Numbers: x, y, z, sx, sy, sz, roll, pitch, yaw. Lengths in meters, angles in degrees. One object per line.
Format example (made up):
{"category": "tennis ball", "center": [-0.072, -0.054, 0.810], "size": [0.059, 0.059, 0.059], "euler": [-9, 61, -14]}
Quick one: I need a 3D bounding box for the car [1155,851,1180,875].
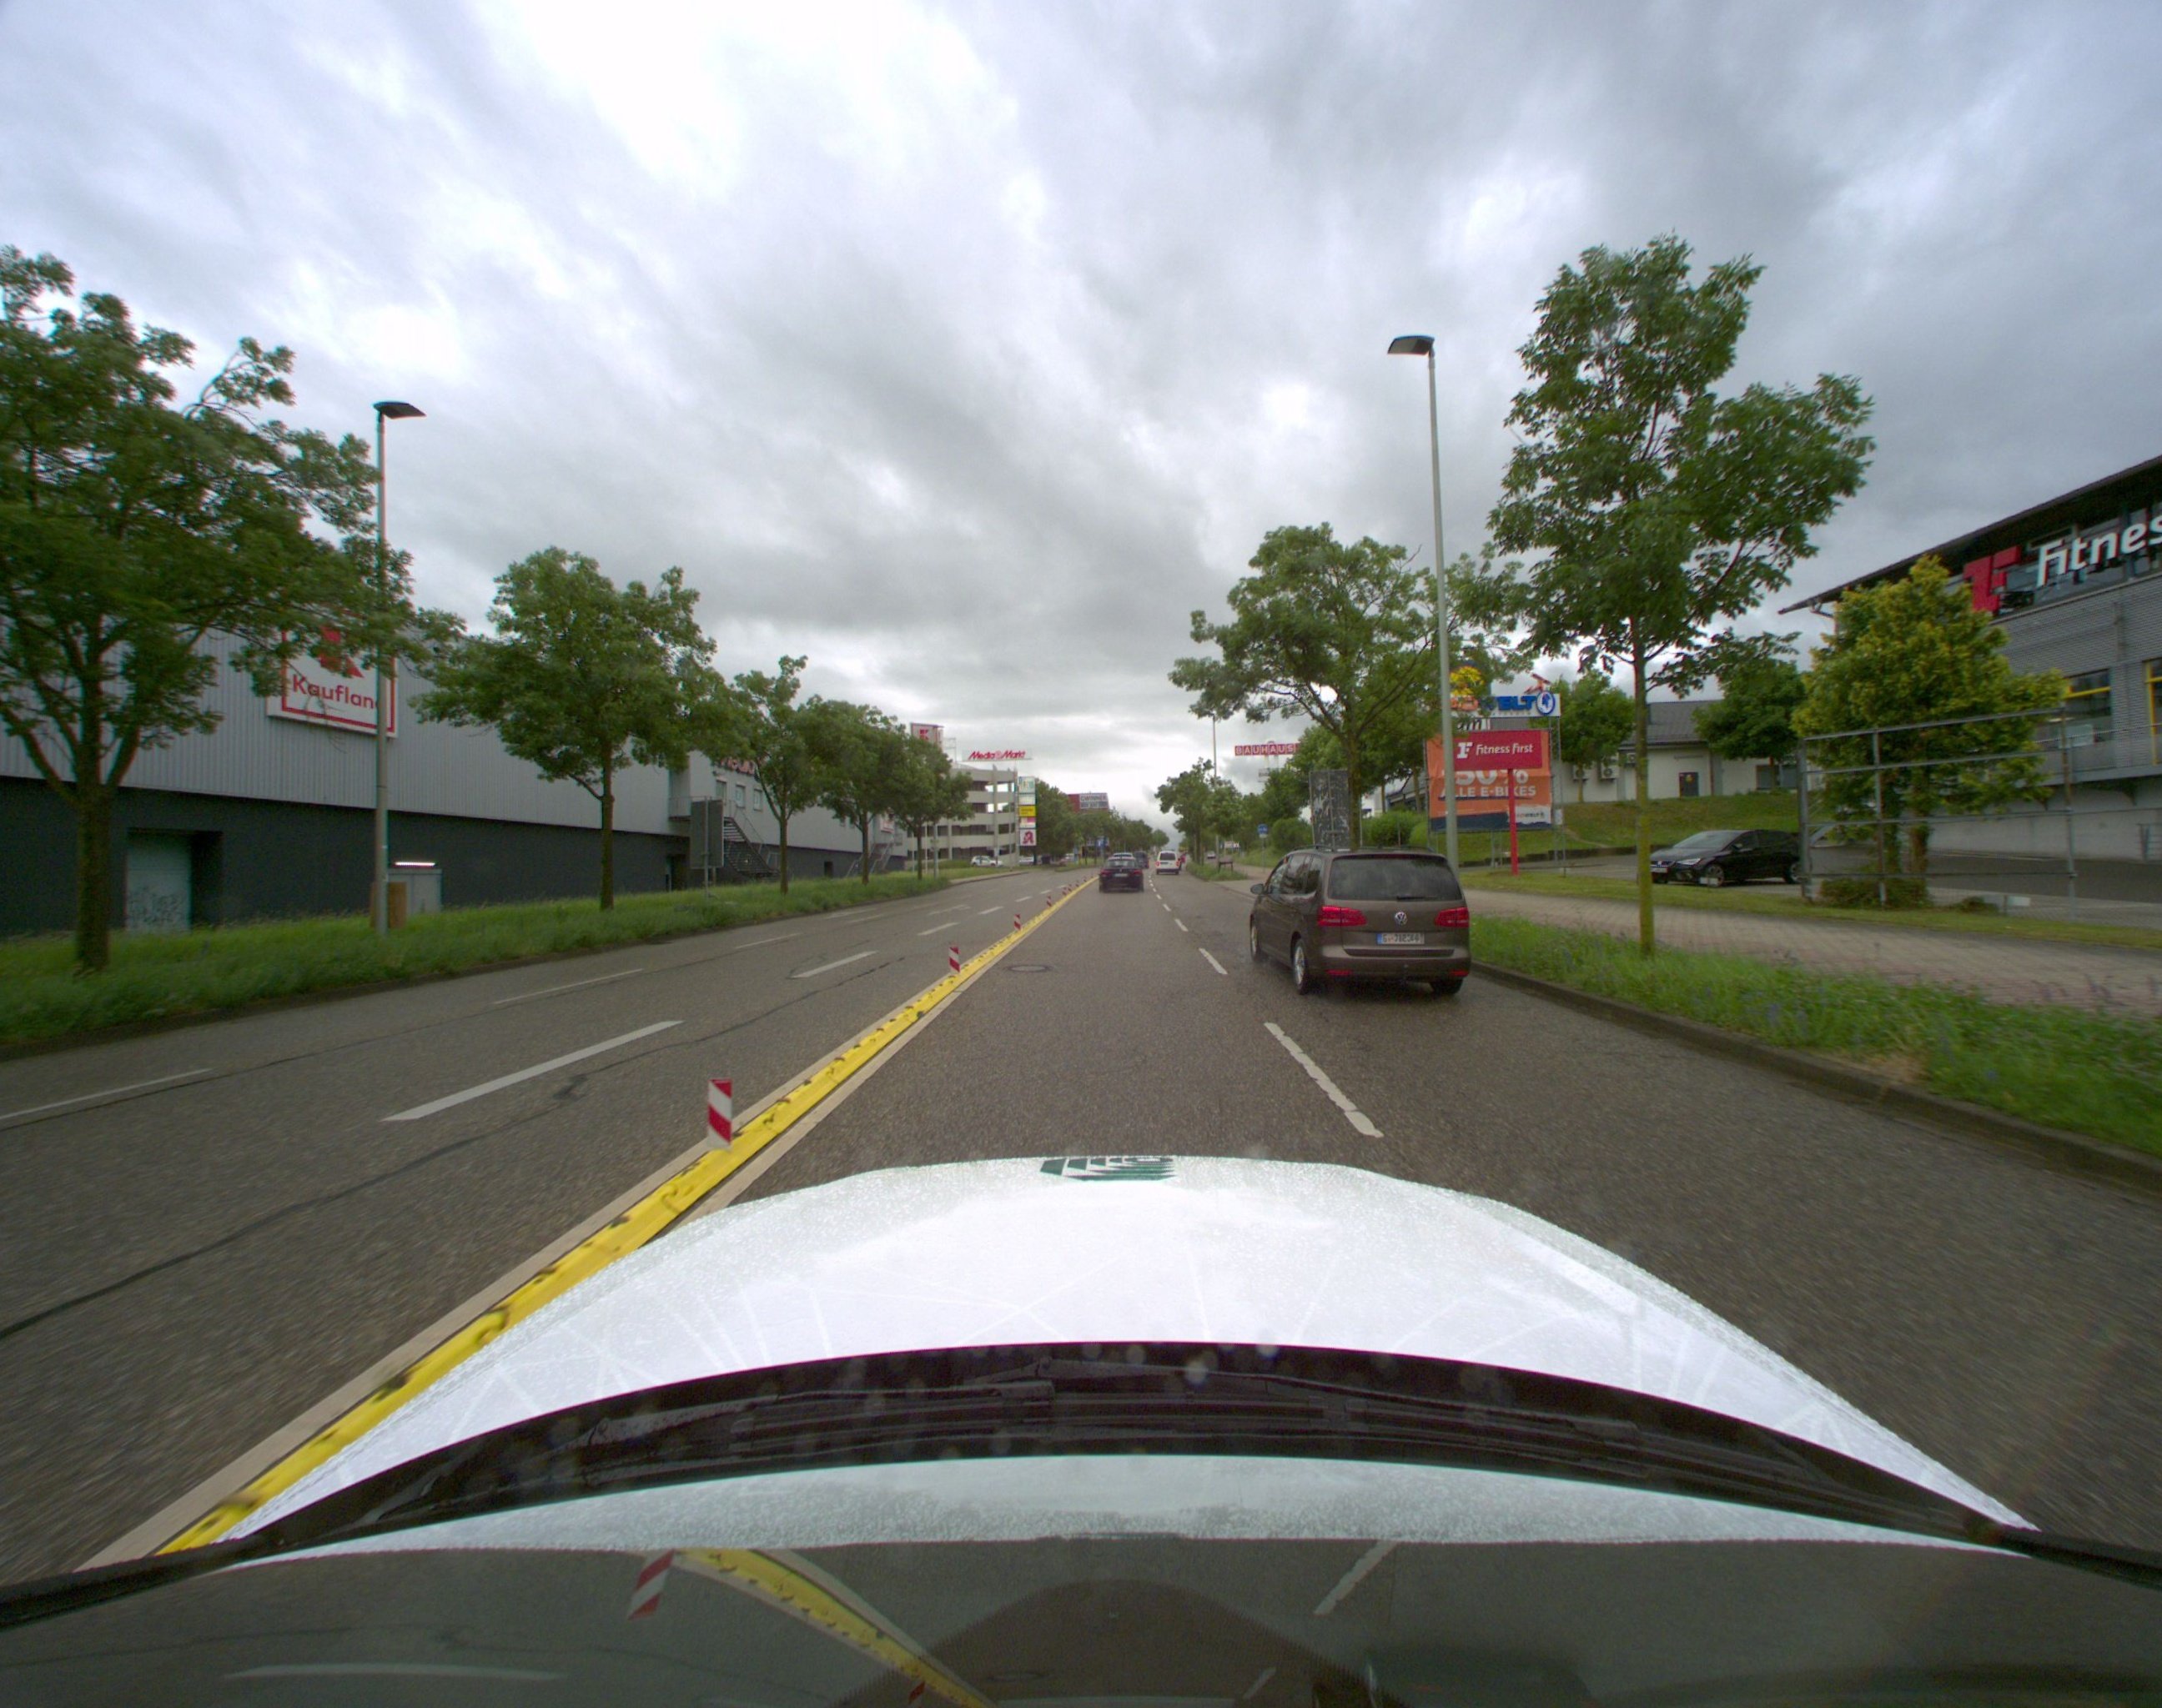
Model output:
{"category": "car", "center": [6.714, 0.665, 63.576], "size": [1.819, 1.759, 4.005], "euler": [0, 0, 4]}

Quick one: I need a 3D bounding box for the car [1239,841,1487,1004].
{"category": "car", "center": [3.194, 0.694, 10.144], "size": [1.679, 1.581, 4.219], "euler": [1, -1, 1]}

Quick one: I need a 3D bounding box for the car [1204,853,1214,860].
{"category": "car", "center": [26.071, 0.501, 165.521], "size": [1.786, 1.510, 4.005], "euler": [0, -1, 5]}

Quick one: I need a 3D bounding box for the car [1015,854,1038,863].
{"category": "car", "center": [-11.261, 0.988, 167.923], "size": [4.584, 1.745, 1.967], "euler": [-1, 1, 0]}

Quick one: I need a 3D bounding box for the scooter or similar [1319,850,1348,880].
{"category": "scooter or similar", "center": [11.395, 0.500, 36.748], "size": [0.693, 1.263, 1.398], "euler": [-4, -1, -4]}

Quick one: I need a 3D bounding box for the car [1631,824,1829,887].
{"category": "car", "center": [16.615, -0.001, 20.914], "size": [4.092, 1.438, 1.790], "euler": [-2, 2, -11]}

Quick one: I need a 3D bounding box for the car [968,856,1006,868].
{"category": "car", "center": [-12.035, 0.970, 104.564], "size": [4.375, 1.408, 1.914], "euler": [1, 2, 17]}

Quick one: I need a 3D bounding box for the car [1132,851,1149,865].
{"category": "car", "center": [6.516, 0.412, 88.564], "size": [1.786, 1.510, 4.005], "euler": [0, -1, 5]}

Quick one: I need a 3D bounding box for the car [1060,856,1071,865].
{"category": "car", "center": [-3.069, 1.366, 162.330], "size": [1.924, 1.608, 4.716], "euler": [-1, 1, 3]}

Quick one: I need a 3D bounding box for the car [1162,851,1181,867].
{"category": "car", "center": [9.042, 0.517, 81.513], "size": [1.786, 1.510, 4.005], "euler": [0, -1, 5]}

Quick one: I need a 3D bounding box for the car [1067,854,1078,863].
{"category": "car", "center": [-1.822, 0.962, 176.732], "size": [2.029, 1.762, 4.954], "euler": [-1, 1, 5]}

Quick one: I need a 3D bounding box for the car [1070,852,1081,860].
{"category": "car", "center": [-1.296, 0.411, 197.672], "size": [2.127, 1.773, 4.617], "euler": [-1, 1, 6]}

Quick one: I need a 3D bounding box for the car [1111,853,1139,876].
{"category": "car", "center": [2.901, 0.691, 54.081], "size": [1.787, 1.510, 4.003], "euler": [0, -1, 3]}

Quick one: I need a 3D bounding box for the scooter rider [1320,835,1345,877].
{"category": "scooter rider", "center": [11.365, 0.096, 36.774], "size": [0.693, 1.820, 0.857], "euler": [-4, -1, -4]}

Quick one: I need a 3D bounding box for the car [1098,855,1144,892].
{"category": "car", "center": [1.710, 0.808, 34.714], "size": [1.819, 1.468, 4.003], "euler": [0, 0, 3]}
